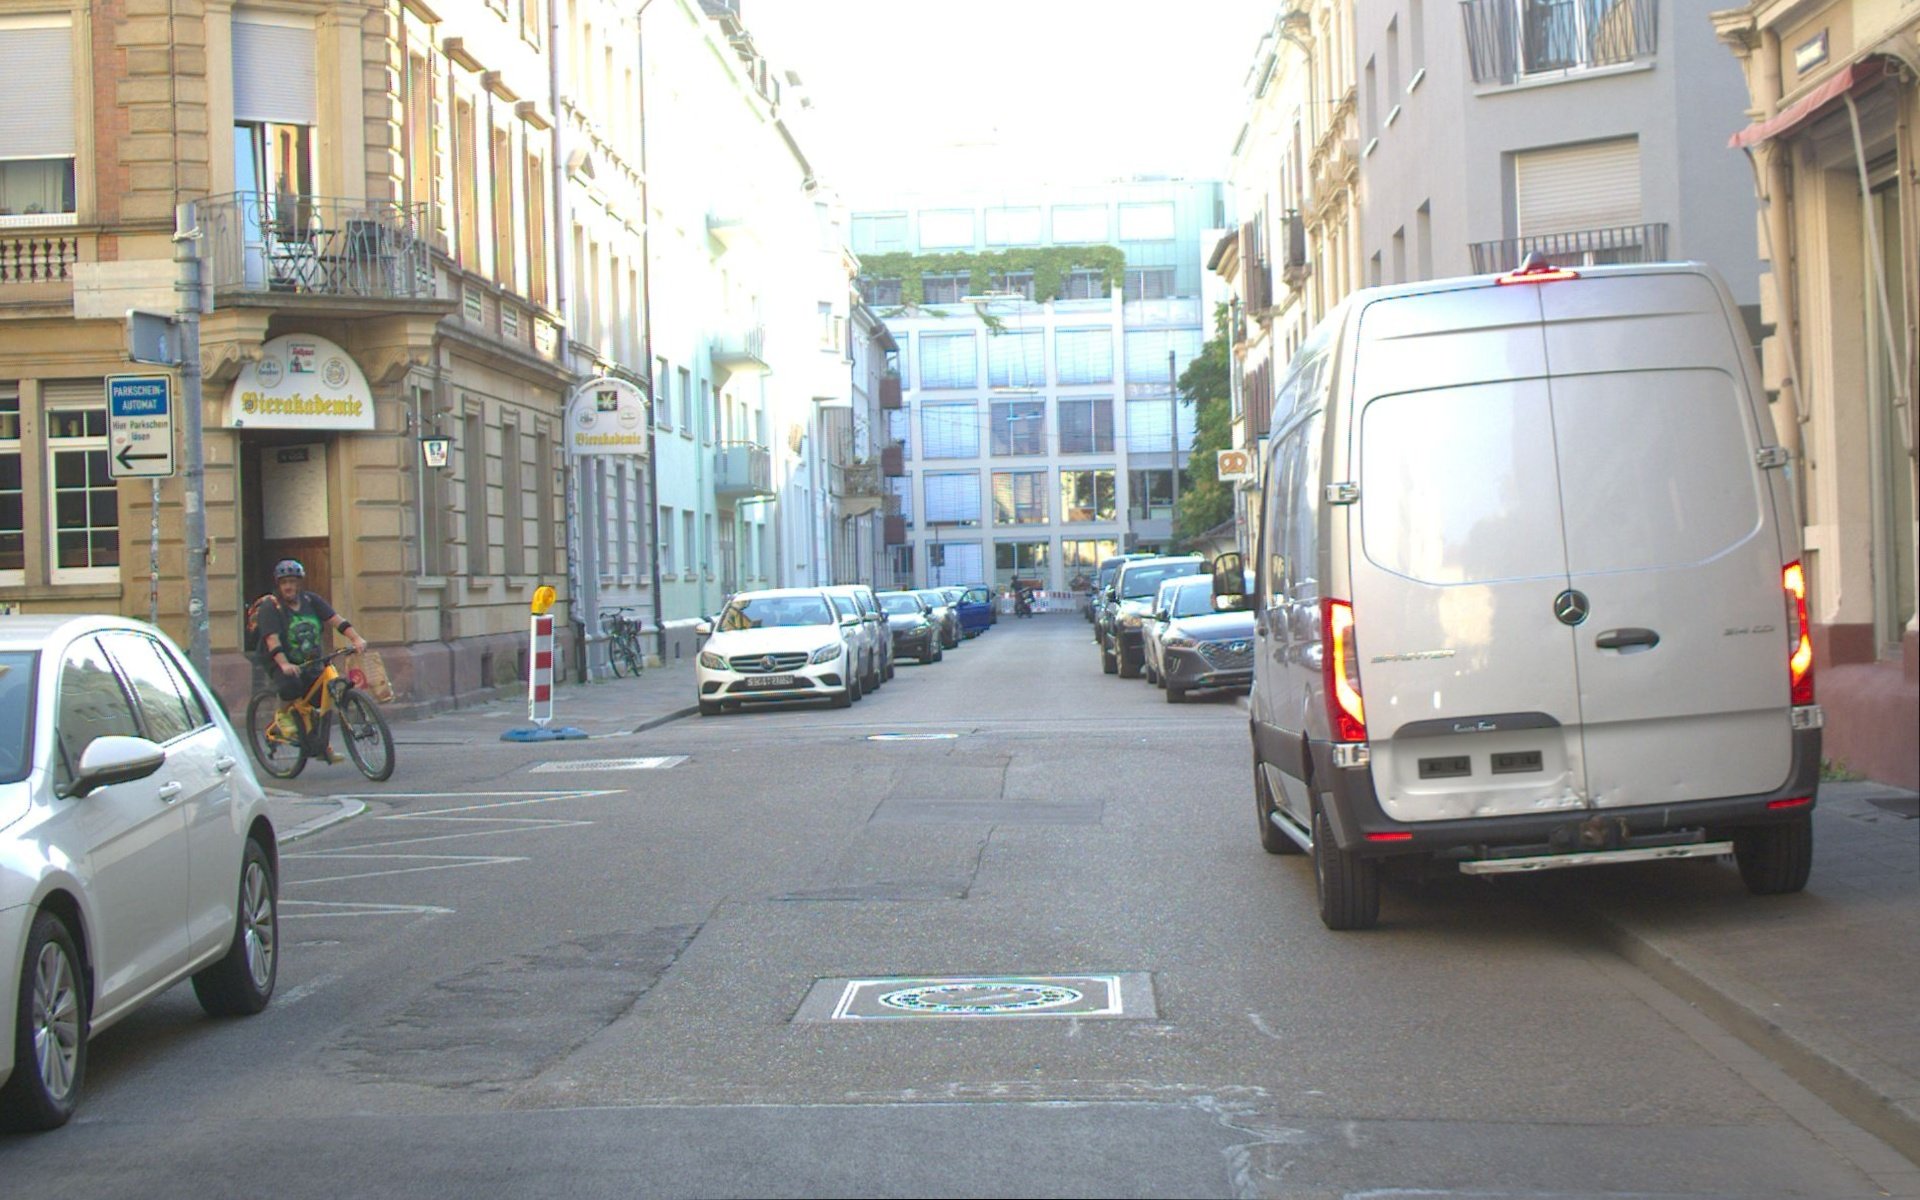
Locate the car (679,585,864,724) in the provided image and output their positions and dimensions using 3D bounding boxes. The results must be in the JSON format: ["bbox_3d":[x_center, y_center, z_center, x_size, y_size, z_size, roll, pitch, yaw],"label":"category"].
[{"bbox_3d":[-2.251,0.625,42.247,1.993,1.559,4.506,-1,0,0],"label":"car"}]

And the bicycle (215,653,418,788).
[{"bbox_3d":[-5.062,0.926,26.959,0.538,1.004,1.980,-1,0,-44],"label":"bicycle"}]

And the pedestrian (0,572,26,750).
[{"bbox_3d":[-9.884,0.601,34.093,1.013,1.736,0.985,-1,0,-5],"label":"pedestrian"}]

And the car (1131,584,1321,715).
[{"bbox_3d":[3.112,0.554,40.913,1.938,1.367,3.789,-3,0,1],"label":"car"}]

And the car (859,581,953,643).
[{"bbox_3d":[-1.282,0.281,82.874,2.173,1.413,4.000,-1,0,0],"label":"car"}]

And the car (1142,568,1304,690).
[{"bbox_3d":[3.543,0.367,46.974,1.963,1.552,3.889,-1,0,1],"label":"car"}]

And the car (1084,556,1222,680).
[{"bbox_3d":[2.897,0.255,52.417,1.893,1.778,4.000,-1,0,1],"label":"car"}]

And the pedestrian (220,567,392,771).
[{"bbox_3d":[-5.119,0.530,26.883,0.829,1.540,1.082,-1,0,-44],"label":"pedestrian"}]

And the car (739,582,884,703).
[{"bbox_3d":[-2.033,0.559,47.850,1.625,1.571,3.754,-1,0,3],"label":"car"}]

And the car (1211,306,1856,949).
[{"bbox_3d":[2.436,0.092,16.372,2.277,2.431,6.203,-1,0,3],"label":"car"}]

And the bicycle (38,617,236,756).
[{"bbox_3d":[-8.066,0.845,33.732,1.757,1.271,0.661,-1,3,-2],"label":"bicycle"}]

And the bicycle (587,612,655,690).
[{"bbox_3d":[-5.283,0.779,53.713,0.737,1.157,2.461,-1,0,2],"label":"bicycle"}]

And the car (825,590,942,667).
[{"bbox_3d":[-1.412,0.510,65.097,1.993,1.350,4.429,-1,0,1],"label":"car"}]

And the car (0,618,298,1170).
[{"bbox_3d":[-3.302,0.792,10.671,1.657,1.409,3.882,-2,0,1],"label":"car"}]
